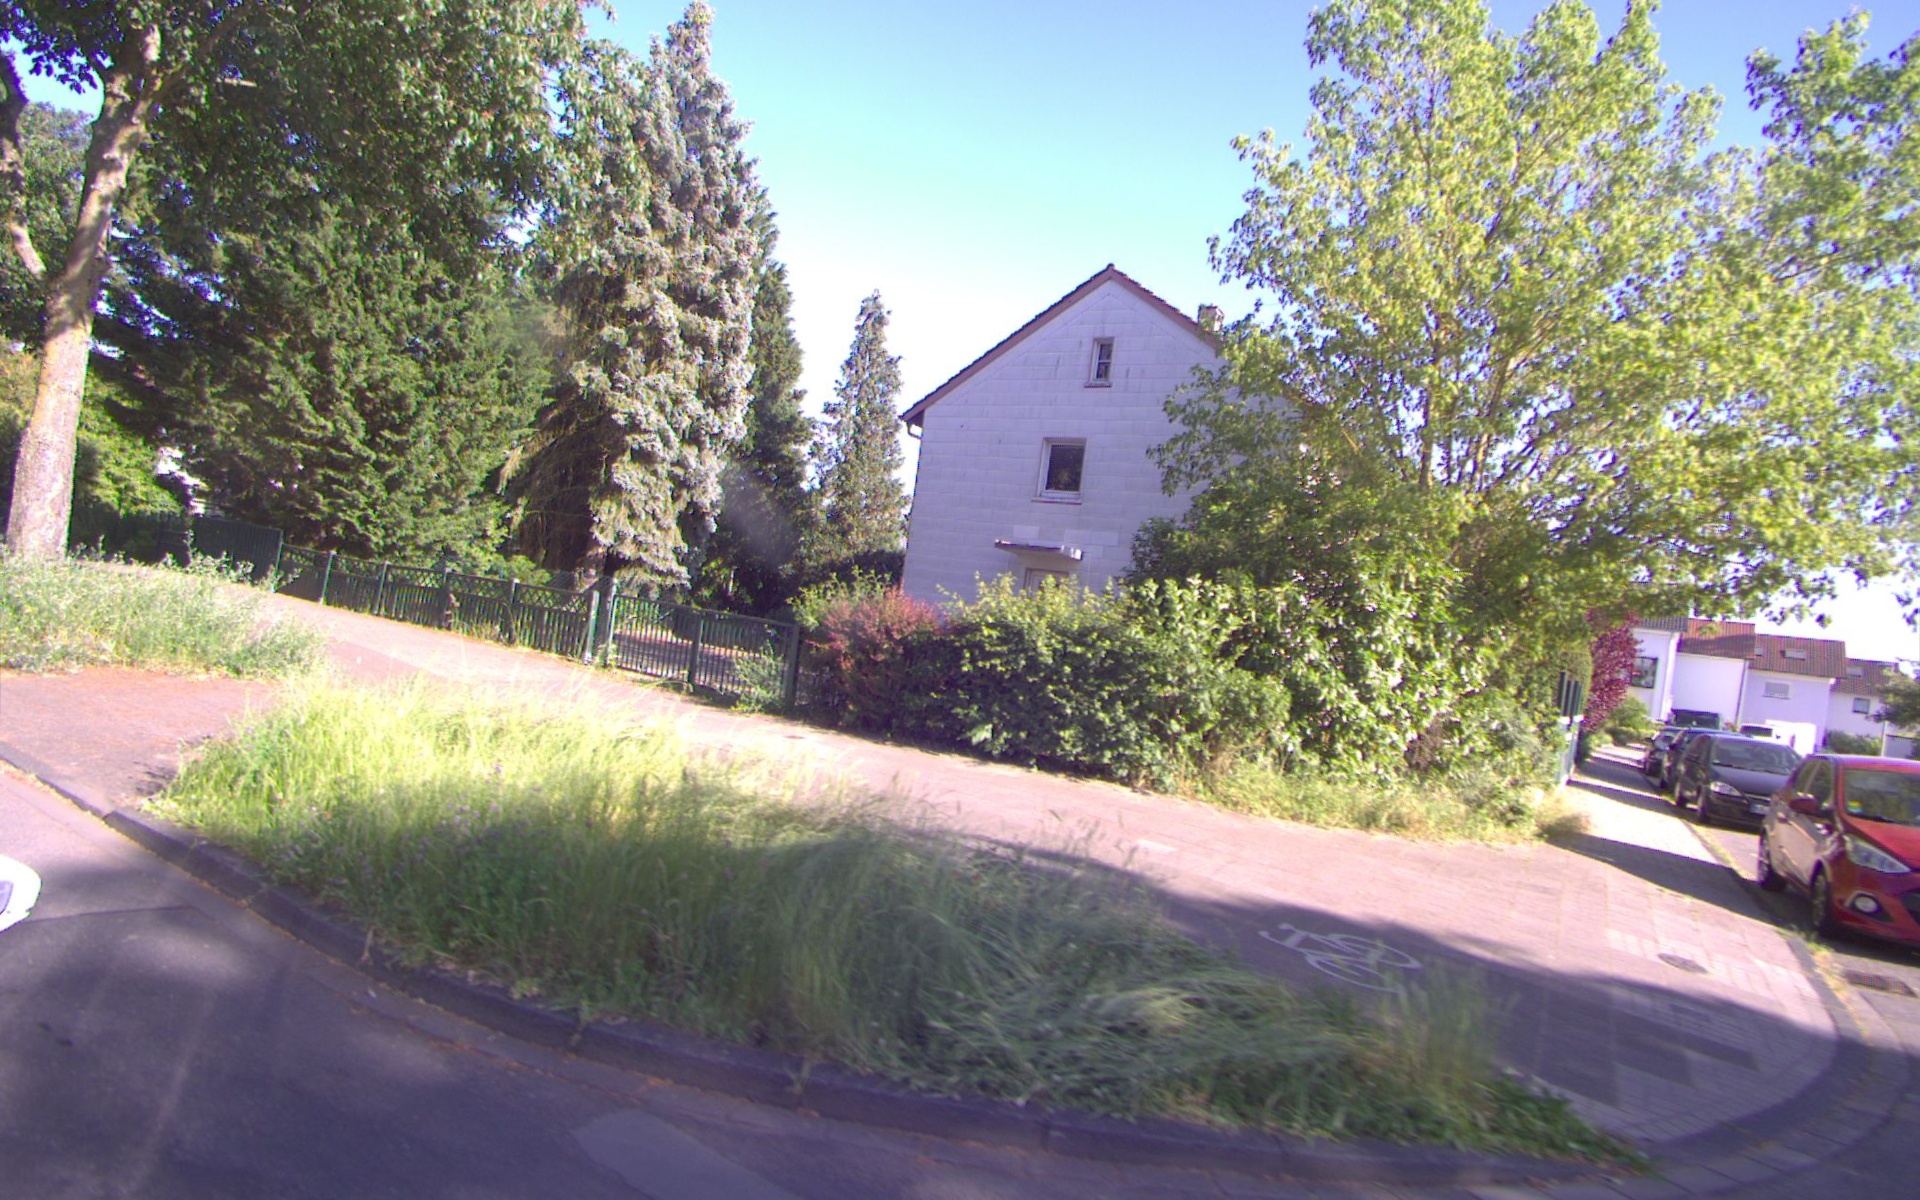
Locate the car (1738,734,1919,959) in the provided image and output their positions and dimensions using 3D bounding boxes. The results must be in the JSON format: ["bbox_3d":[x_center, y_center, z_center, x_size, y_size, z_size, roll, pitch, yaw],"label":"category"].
[{"bbox_3d":[8.401,2.143,8.930,1.611,1.528,3.550,9,-1,28],"label":"car"}]

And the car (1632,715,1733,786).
[{"bbox_3d":[19.468,4.010,27.237,1.612,1.528,3.550,7,-2,28],"label":"car"}]

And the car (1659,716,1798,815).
[{"bbox_3d":[15.802,3.319,20.894,1.858,1.528,4.304,8,-1,34],"label":"car"}]

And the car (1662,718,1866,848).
[{"bbox_3d":[13.249,2.930,16.855,1.811,1.528,3.963,8,-1,28],"label":"car"}]
